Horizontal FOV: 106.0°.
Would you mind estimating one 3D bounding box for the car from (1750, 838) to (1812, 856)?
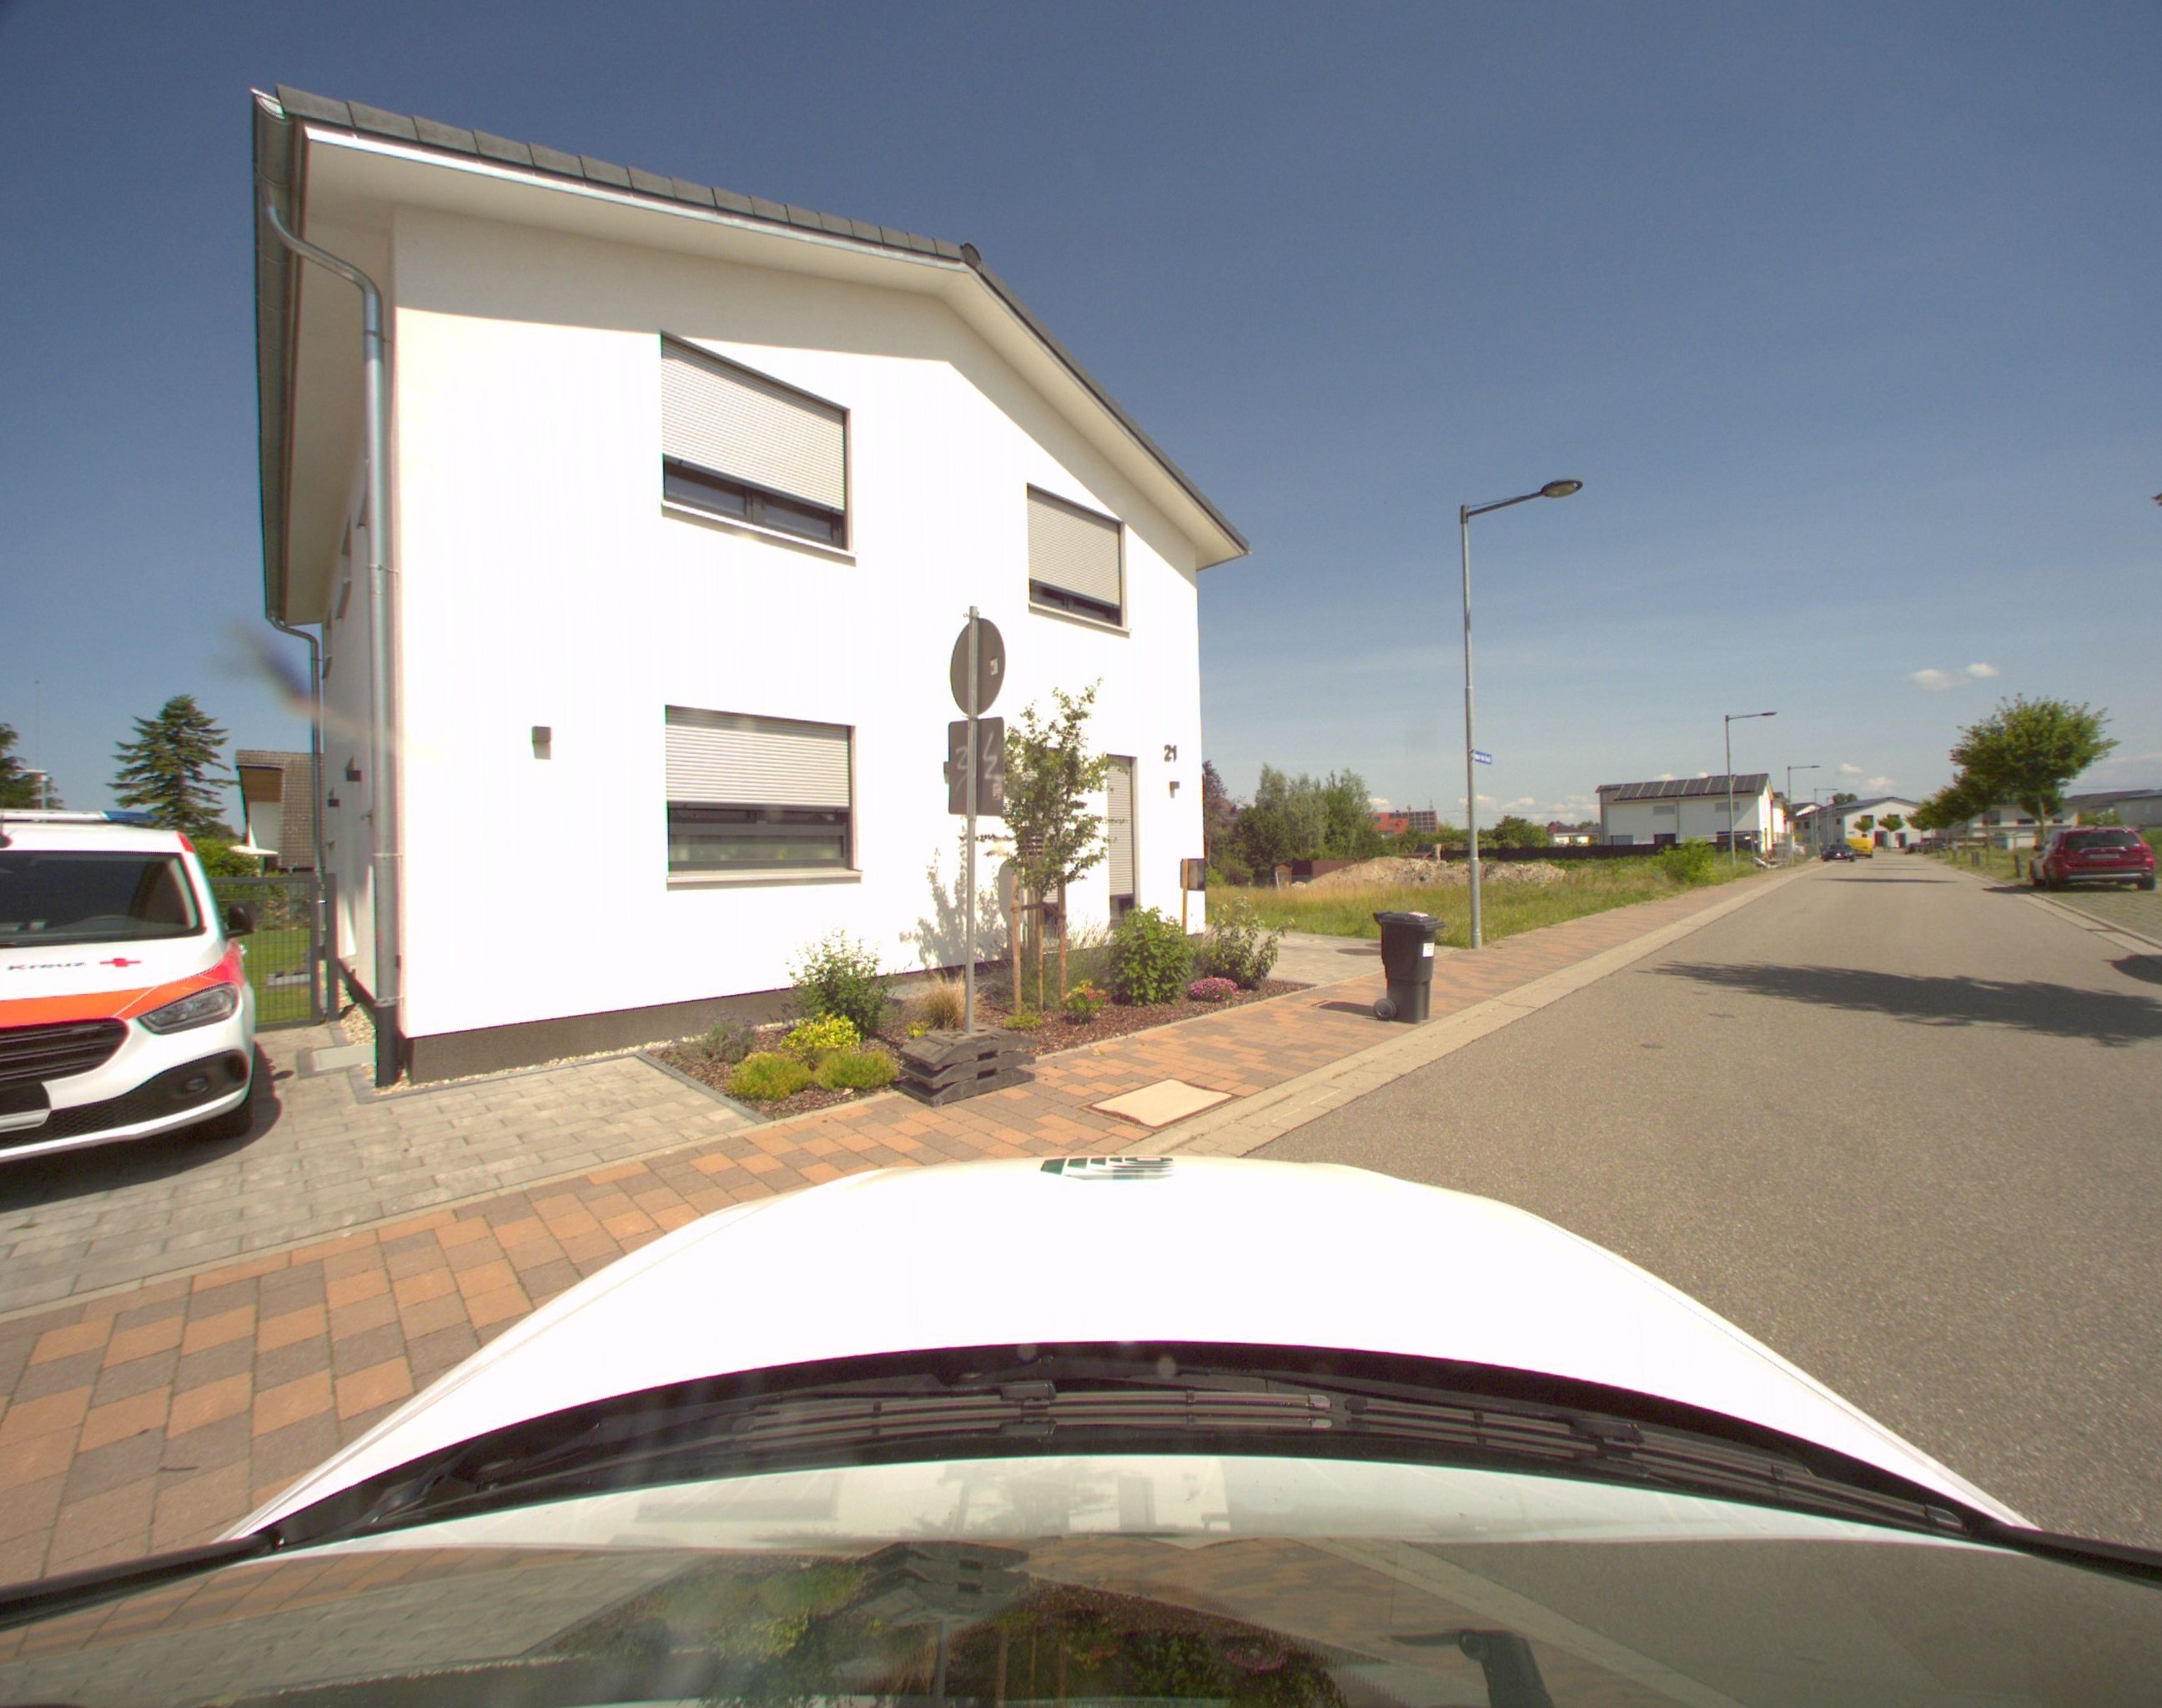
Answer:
[{"bbox_3d":[64.365,-0.682,74.903,1.793,1.581,4.035,-2,1,-39],"label":"car"}]

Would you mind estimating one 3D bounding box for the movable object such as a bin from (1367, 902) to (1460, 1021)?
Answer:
[{"bbox_3d":[2.911,0.910,7.132,0.617,0.948,0.503,-2,-1,41],"label":"movable object such as a bin"}]

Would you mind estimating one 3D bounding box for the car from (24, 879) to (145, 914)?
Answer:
[{"bbox_3d":[-55.944,2.359,45.829,1.881,1.717,4.186,-2,-1,42],"label":"car"}]

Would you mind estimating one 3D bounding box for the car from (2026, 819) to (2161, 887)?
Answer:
[{"bbox_3d":[27.717,-0.047,22.417,1.760,1.663,4.460,-4,-1,44],"label":"car"}]

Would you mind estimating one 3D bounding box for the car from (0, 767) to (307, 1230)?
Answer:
[{"bbox_3d":[-6.163,0.652,4.838,4.691,1.875,1.950,-2,-1,43],"label":"car"}]

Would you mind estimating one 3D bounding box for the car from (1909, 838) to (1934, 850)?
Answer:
[{"bbox_3d":[105.541,-1.265,102.301,1.612,1.322,3.857,-1,-2,38],"label":"car"}]

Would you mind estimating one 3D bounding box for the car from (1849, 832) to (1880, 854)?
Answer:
[{"bbox_3d":[74.958,-0.993,77.930,1.923,1.981,4.243,-2,-1,41],"label":"car"}]

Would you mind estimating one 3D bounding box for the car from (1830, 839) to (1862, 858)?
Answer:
[{"bbox_3d":[60.291,-0.475,64.168,1.729,1.405,4.184,1,2,45],"label":"car"}]

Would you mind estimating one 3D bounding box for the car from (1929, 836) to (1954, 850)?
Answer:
[{"bbox_3d":[93.142,-1.178,88.200,1.624,1.403,3.833,-2,-2,44],"label":"car"}]
